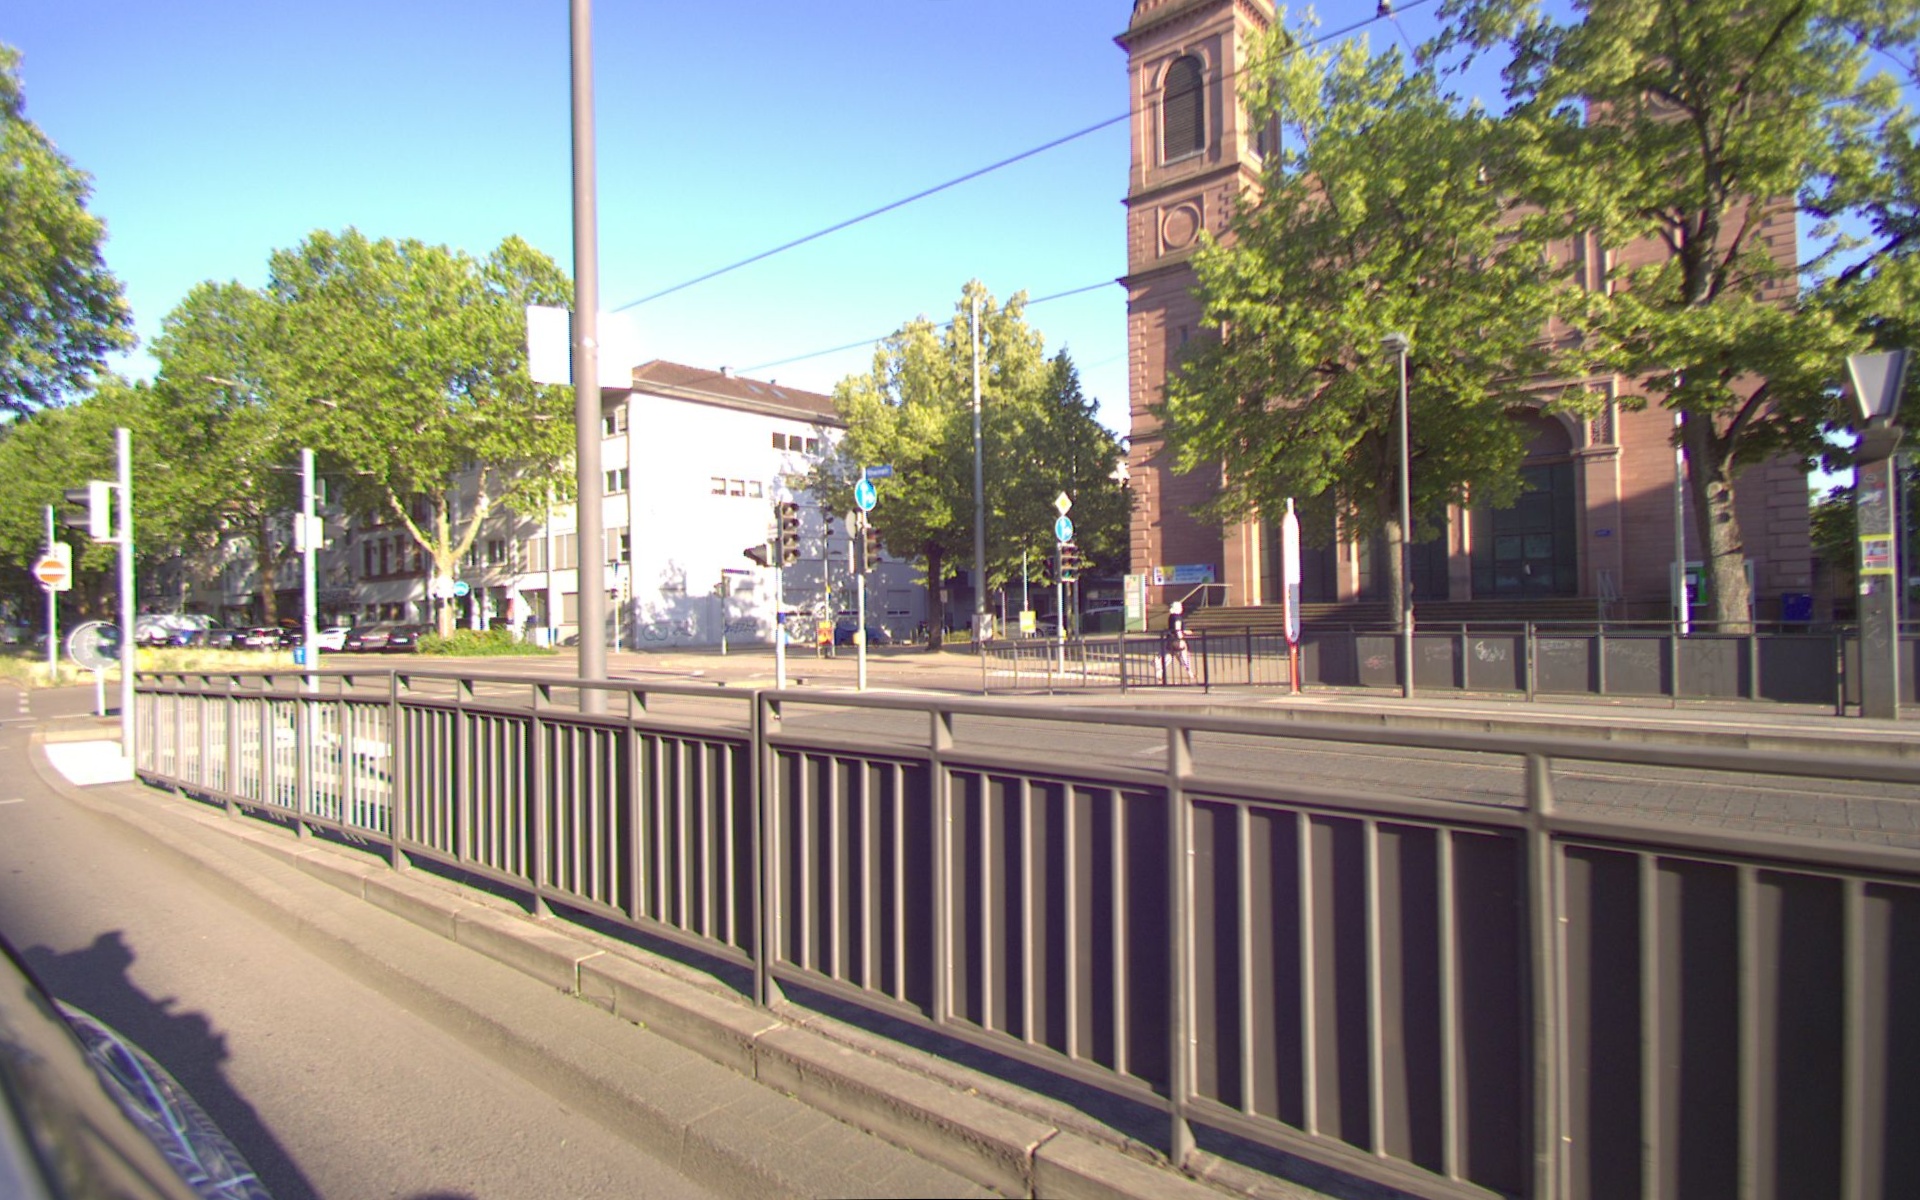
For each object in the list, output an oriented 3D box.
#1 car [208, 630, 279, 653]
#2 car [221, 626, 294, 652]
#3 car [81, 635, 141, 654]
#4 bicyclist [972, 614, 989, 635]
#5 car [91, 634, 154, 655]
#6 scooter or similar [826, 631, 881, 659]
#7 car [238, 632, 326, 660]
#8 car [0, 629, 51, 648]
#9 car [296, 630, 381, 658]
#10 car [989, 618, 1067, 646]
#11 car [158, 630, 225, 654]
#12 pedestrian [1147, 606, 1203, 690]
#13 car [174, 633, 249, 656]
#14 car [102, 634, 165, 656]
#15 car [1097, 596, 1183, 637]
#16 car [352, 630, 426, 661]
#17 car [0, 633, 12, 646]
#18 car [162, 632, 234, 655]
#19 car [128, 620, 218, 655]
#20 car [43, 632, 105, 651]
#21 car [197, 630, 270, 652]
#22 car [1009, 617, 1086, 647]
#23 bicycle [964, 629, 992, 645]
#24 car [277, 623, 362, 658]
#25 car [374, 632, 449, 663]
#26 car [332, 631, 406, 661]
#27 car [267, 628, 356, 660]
[{"bbox_3d":[-48.648,2.807,68.814,1.582,1.470,4.251,-1,-1,4],"label":"car"},{"bbox_3d":[-46.043,2.538,66.439,1.881,1.626,4.257,-1,-1,0],"label":"car"},{"bbox_3d":[-81.075,4.252,96.676,1.980,1.719,3.983,-1,-1,13],"label":"car"},{"bbox_3d":[1.293,1.541,63.621,0.632,1.341,0.956,-2,-2,41],"label":"bicyclist"},{"bbox_3d":[-75.678,4.020,91.523,1.980,1.829,3.983,-1,-1,13],"label":"car"},{"bbox_3d":[-4.851,2.029,45.848,2.446,1.135,1.082,-5,-4,41],"label":"scooter or similar"},{"bbox_3d":[-40.793,2.731,61.008,1.634,1.569,4.221,-2,-1,25],"label":"car"},{"bbox_3d":[-118.884,4.864,128.757,2.071,2.230,4.943,-1,-1,-2],"label":"car"},{"bbox_3d":[-34.303,2.409,55.966,2.123,1.388,4.257,-1,-1,0],"label":"car"},{"bbox_3d":[3.687,1.729,55.151,3.998,1.409,1.792,-3,-2,41],"label":"car"},{"bbox_3d":[-61.234,3.338,80.718,1.980,1.829,3.983,-1,-1,13],"label":"car"},{"bbox_3d":[4.730,1.028,22.279,0.832,1.773,0.909,-1,0,42],"label":"pedestrian"},{"bbox_3d":[-54.376,3.239,73.591,1.985,1.529,3.973,-1,-1,20],"label":"car"},{"bbox_3d":[-73.082,3.928,89.532,1.980,1.829,3.983,-1,-1,13],"label":"car"},{"bbox_3d":[11.549,1.102,65.123,5.111,2.537,1.973,-2,-1,41],"label":"car"},{"bbox_3d":[-29.617,2.327,52.617,1.717,1.443,3.973,-2,-1,-3],"label":"car"},{"bbox_3d":[-137.286,5.649,143.595,3.937,1.826,1.876,0,-2,-40],"label":"car"},{"bbox_3d":[-56.808,3.221,75.560,1.980,1.630,3.983,-1,-1,13],"label":"car"},{"bbox_3d":[-63.602,3.022,81.906,2.161,2.721,5.583,-1,-1,16],"label":"car"},{"bbox_3d":[-85.222,3.995,97.342,1.996,1.719,4.184,-2,-2,36],"label":"car"},{"bbox_3d":[-50.988,2.842,71.123,1.883,1.468,4.251,-1,-1,4],"label":"car"},{"bbox_3d":[4.923,1.804,57.334,3.998,1.630,1.865,-2,-2,41],"label":"car"},{"bbox_3d":[1.105,2.319,63.359,0.632,0.988,1.962,-2,-2,41],"label":"bicycle"},{"bbox_3d":[-38.618,2.419,61.126,1.508,1.958,4.221,-2,-2,25],"label":"car"},{"bbox_3d":[-27.241,2.336,50.372,1.746,1.442,3.973,-1,-1,-2],"label":"car"},{"bbox_3d":[-31.964,2.447,54.859,1.805,1.515,3.973,-1,-1,-2],"label":"car"},{"bbox_3d":[-37.011,2.491,57.880,2.126,1.697,4.250,-1,-1,6],"label":"car"}]
